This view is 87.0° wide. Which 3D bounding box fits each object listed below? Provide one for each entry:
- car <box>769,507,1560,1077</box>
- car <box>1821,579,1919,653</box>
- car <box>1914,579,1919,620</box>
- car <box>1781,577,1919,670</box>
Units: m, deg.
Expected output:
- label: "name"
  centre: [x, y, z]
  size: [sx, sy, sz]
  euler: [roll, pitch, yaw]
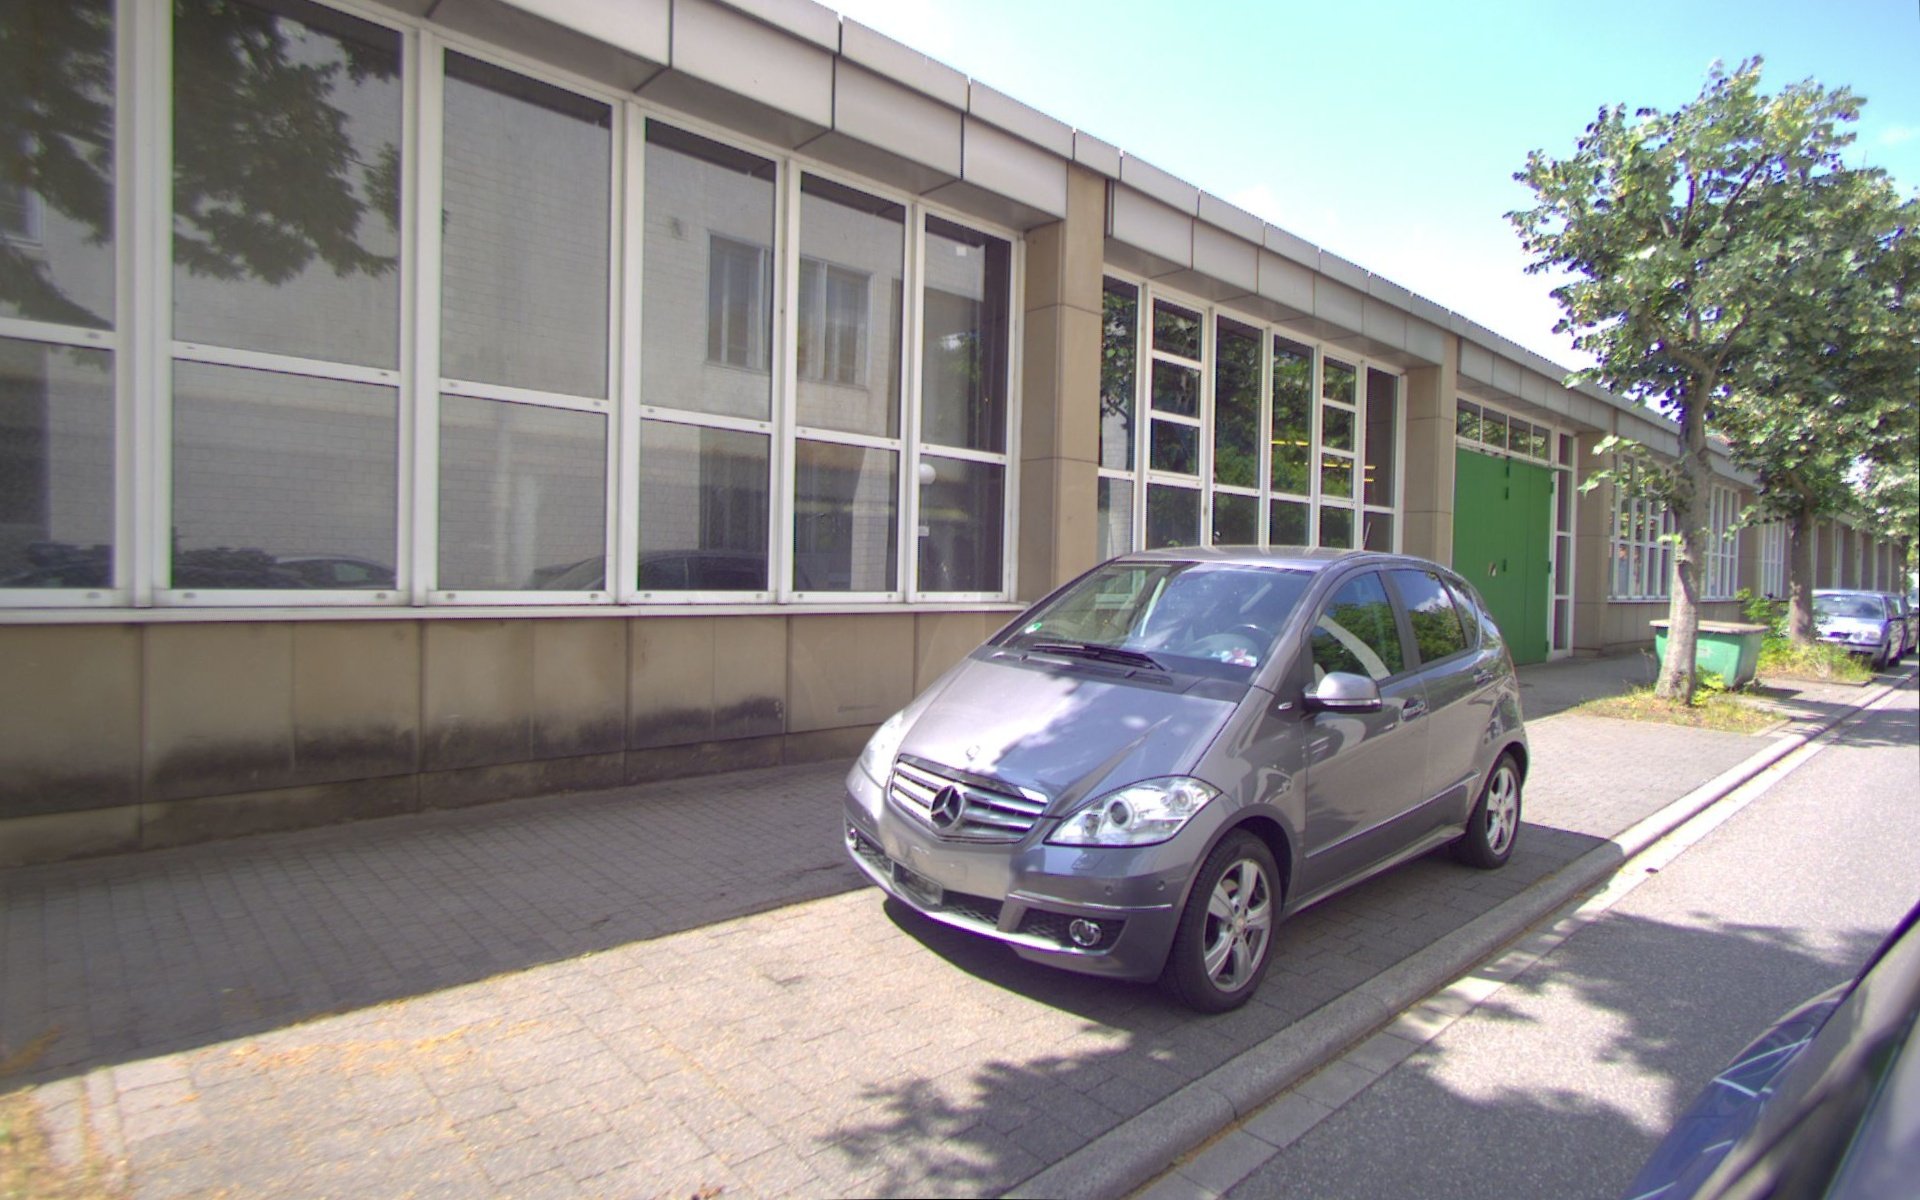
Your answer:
- label: "car"
  centre: [1.200, 0.476, 4.737]
  size: [3.754, 1.587, 1.758]
  euler: [-1, 3, -43]
- label: "car"
  centre: [21.187, 0.317, 23.299]
  size: [3.754, 1.481, 1.620]
  euler: [-1, 4, -43]
- label: "car"
  centre: [37.862, -0.012, 38.774]
  size: [3.752, 1.511, 1.647]
  euler: [-1, 4, -43]
- label: "car"
  centre: [17.293, 0.384, 19.592]
  size: [3.754, 1.530, 1.620]
  euler: [-1, 4, -43]
